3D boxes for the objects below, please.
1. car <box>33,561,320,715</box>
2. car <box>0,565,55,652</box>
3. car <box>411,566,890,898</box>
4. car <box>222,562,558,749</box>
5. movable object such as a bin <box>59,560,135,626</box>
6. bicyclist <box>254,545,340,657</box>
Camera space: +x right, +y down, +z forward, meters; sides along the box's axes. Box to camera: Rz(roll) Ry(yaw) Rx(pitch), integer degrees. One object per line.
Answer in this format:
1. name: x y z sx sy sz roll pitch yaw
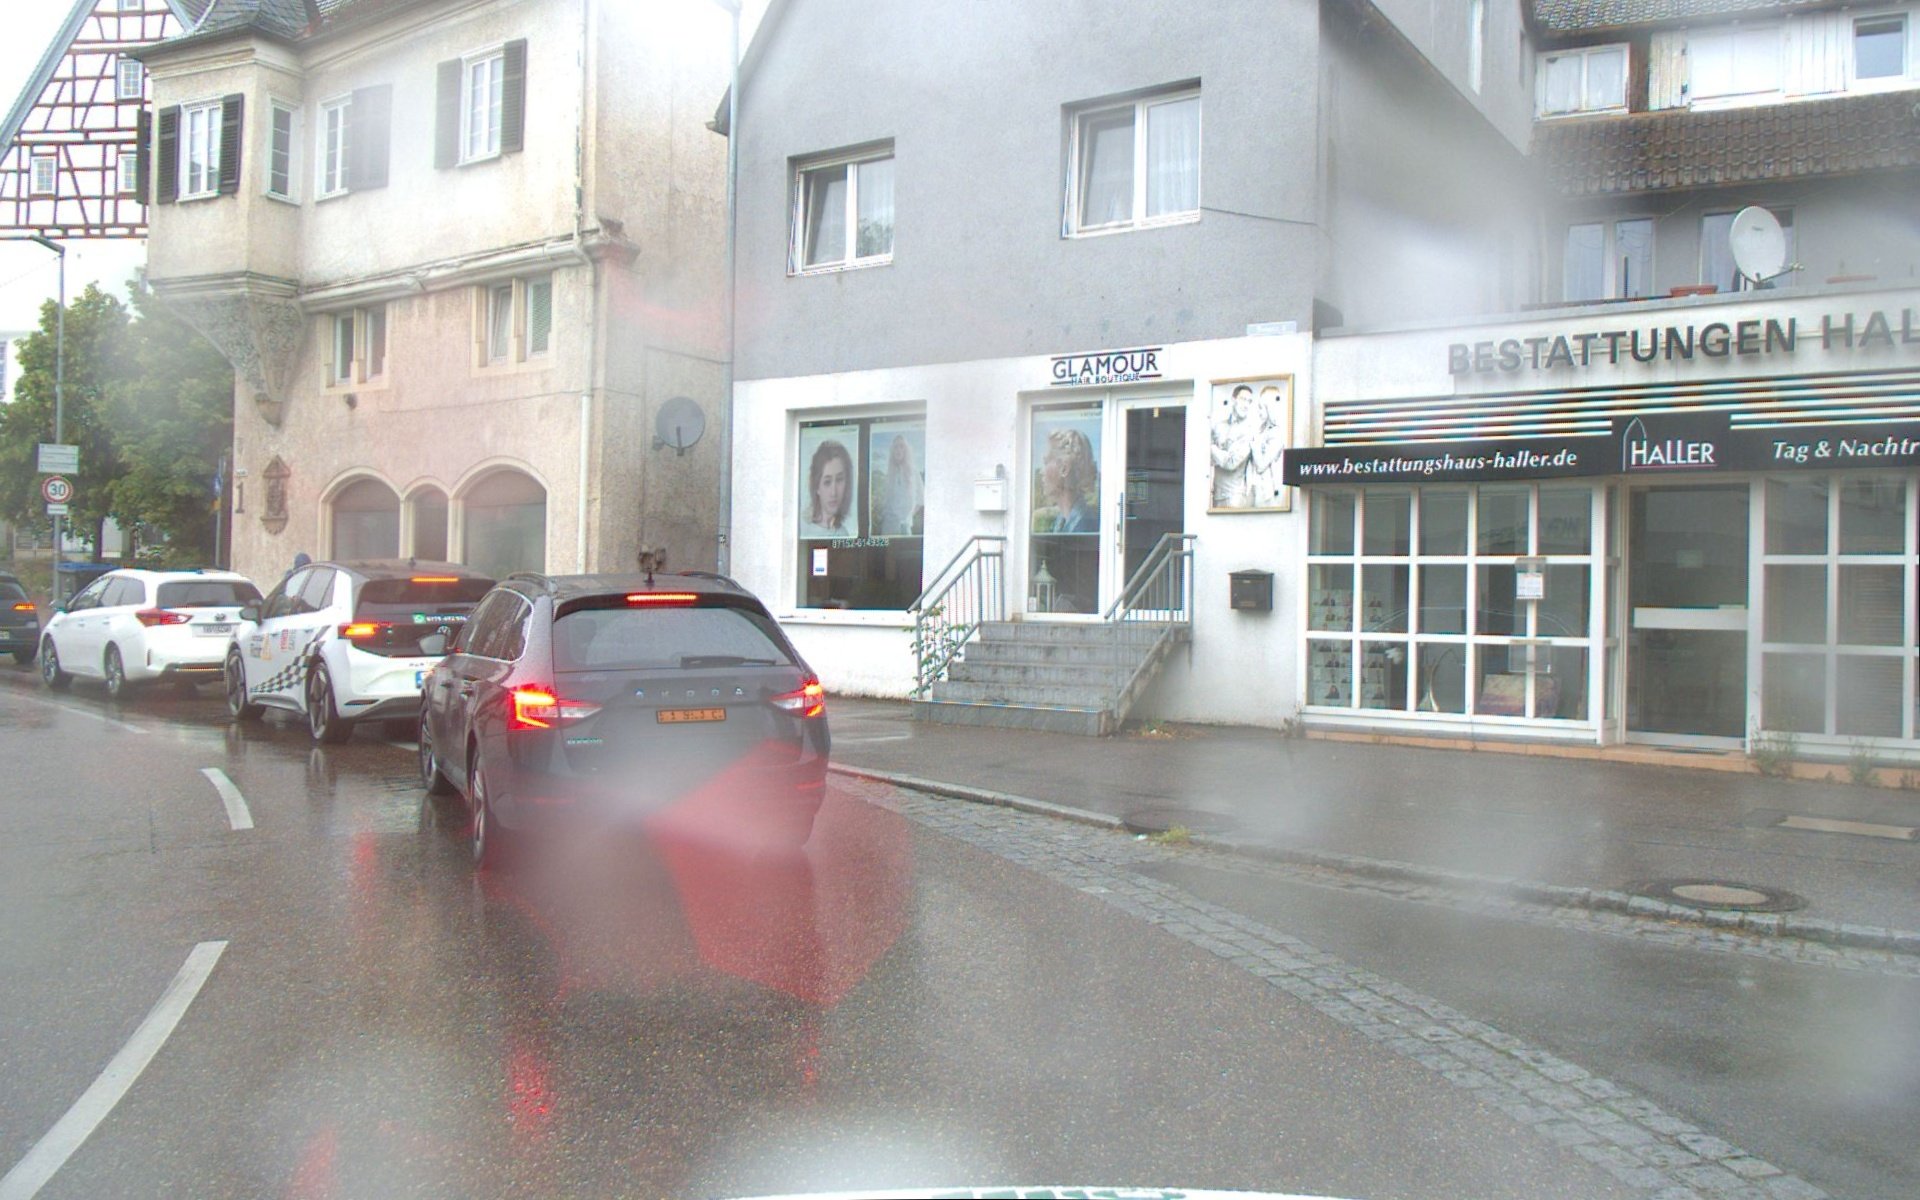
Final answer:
1. car: -9.504 0.376 19.902 1.877 1.624 4.256 1 1 -44
2. car: -16.043 0.089 26.288 1.984 1.324 3.936 1 1 -44
3. car: -2.049 0.559 9.701 1.861 1.473 4.326 1 1 -23
4. car: -5.414 0.418 15.410 1.843 1.498 3.948 1 1 -37
5. movable object such as a bin: -18.108 -0.146 34.710 1.148 1.336 1.168 1 1 -42
6. bicyclist: -9.402 0.003 23.452 1.010 1.544 0.682 2 1 37
